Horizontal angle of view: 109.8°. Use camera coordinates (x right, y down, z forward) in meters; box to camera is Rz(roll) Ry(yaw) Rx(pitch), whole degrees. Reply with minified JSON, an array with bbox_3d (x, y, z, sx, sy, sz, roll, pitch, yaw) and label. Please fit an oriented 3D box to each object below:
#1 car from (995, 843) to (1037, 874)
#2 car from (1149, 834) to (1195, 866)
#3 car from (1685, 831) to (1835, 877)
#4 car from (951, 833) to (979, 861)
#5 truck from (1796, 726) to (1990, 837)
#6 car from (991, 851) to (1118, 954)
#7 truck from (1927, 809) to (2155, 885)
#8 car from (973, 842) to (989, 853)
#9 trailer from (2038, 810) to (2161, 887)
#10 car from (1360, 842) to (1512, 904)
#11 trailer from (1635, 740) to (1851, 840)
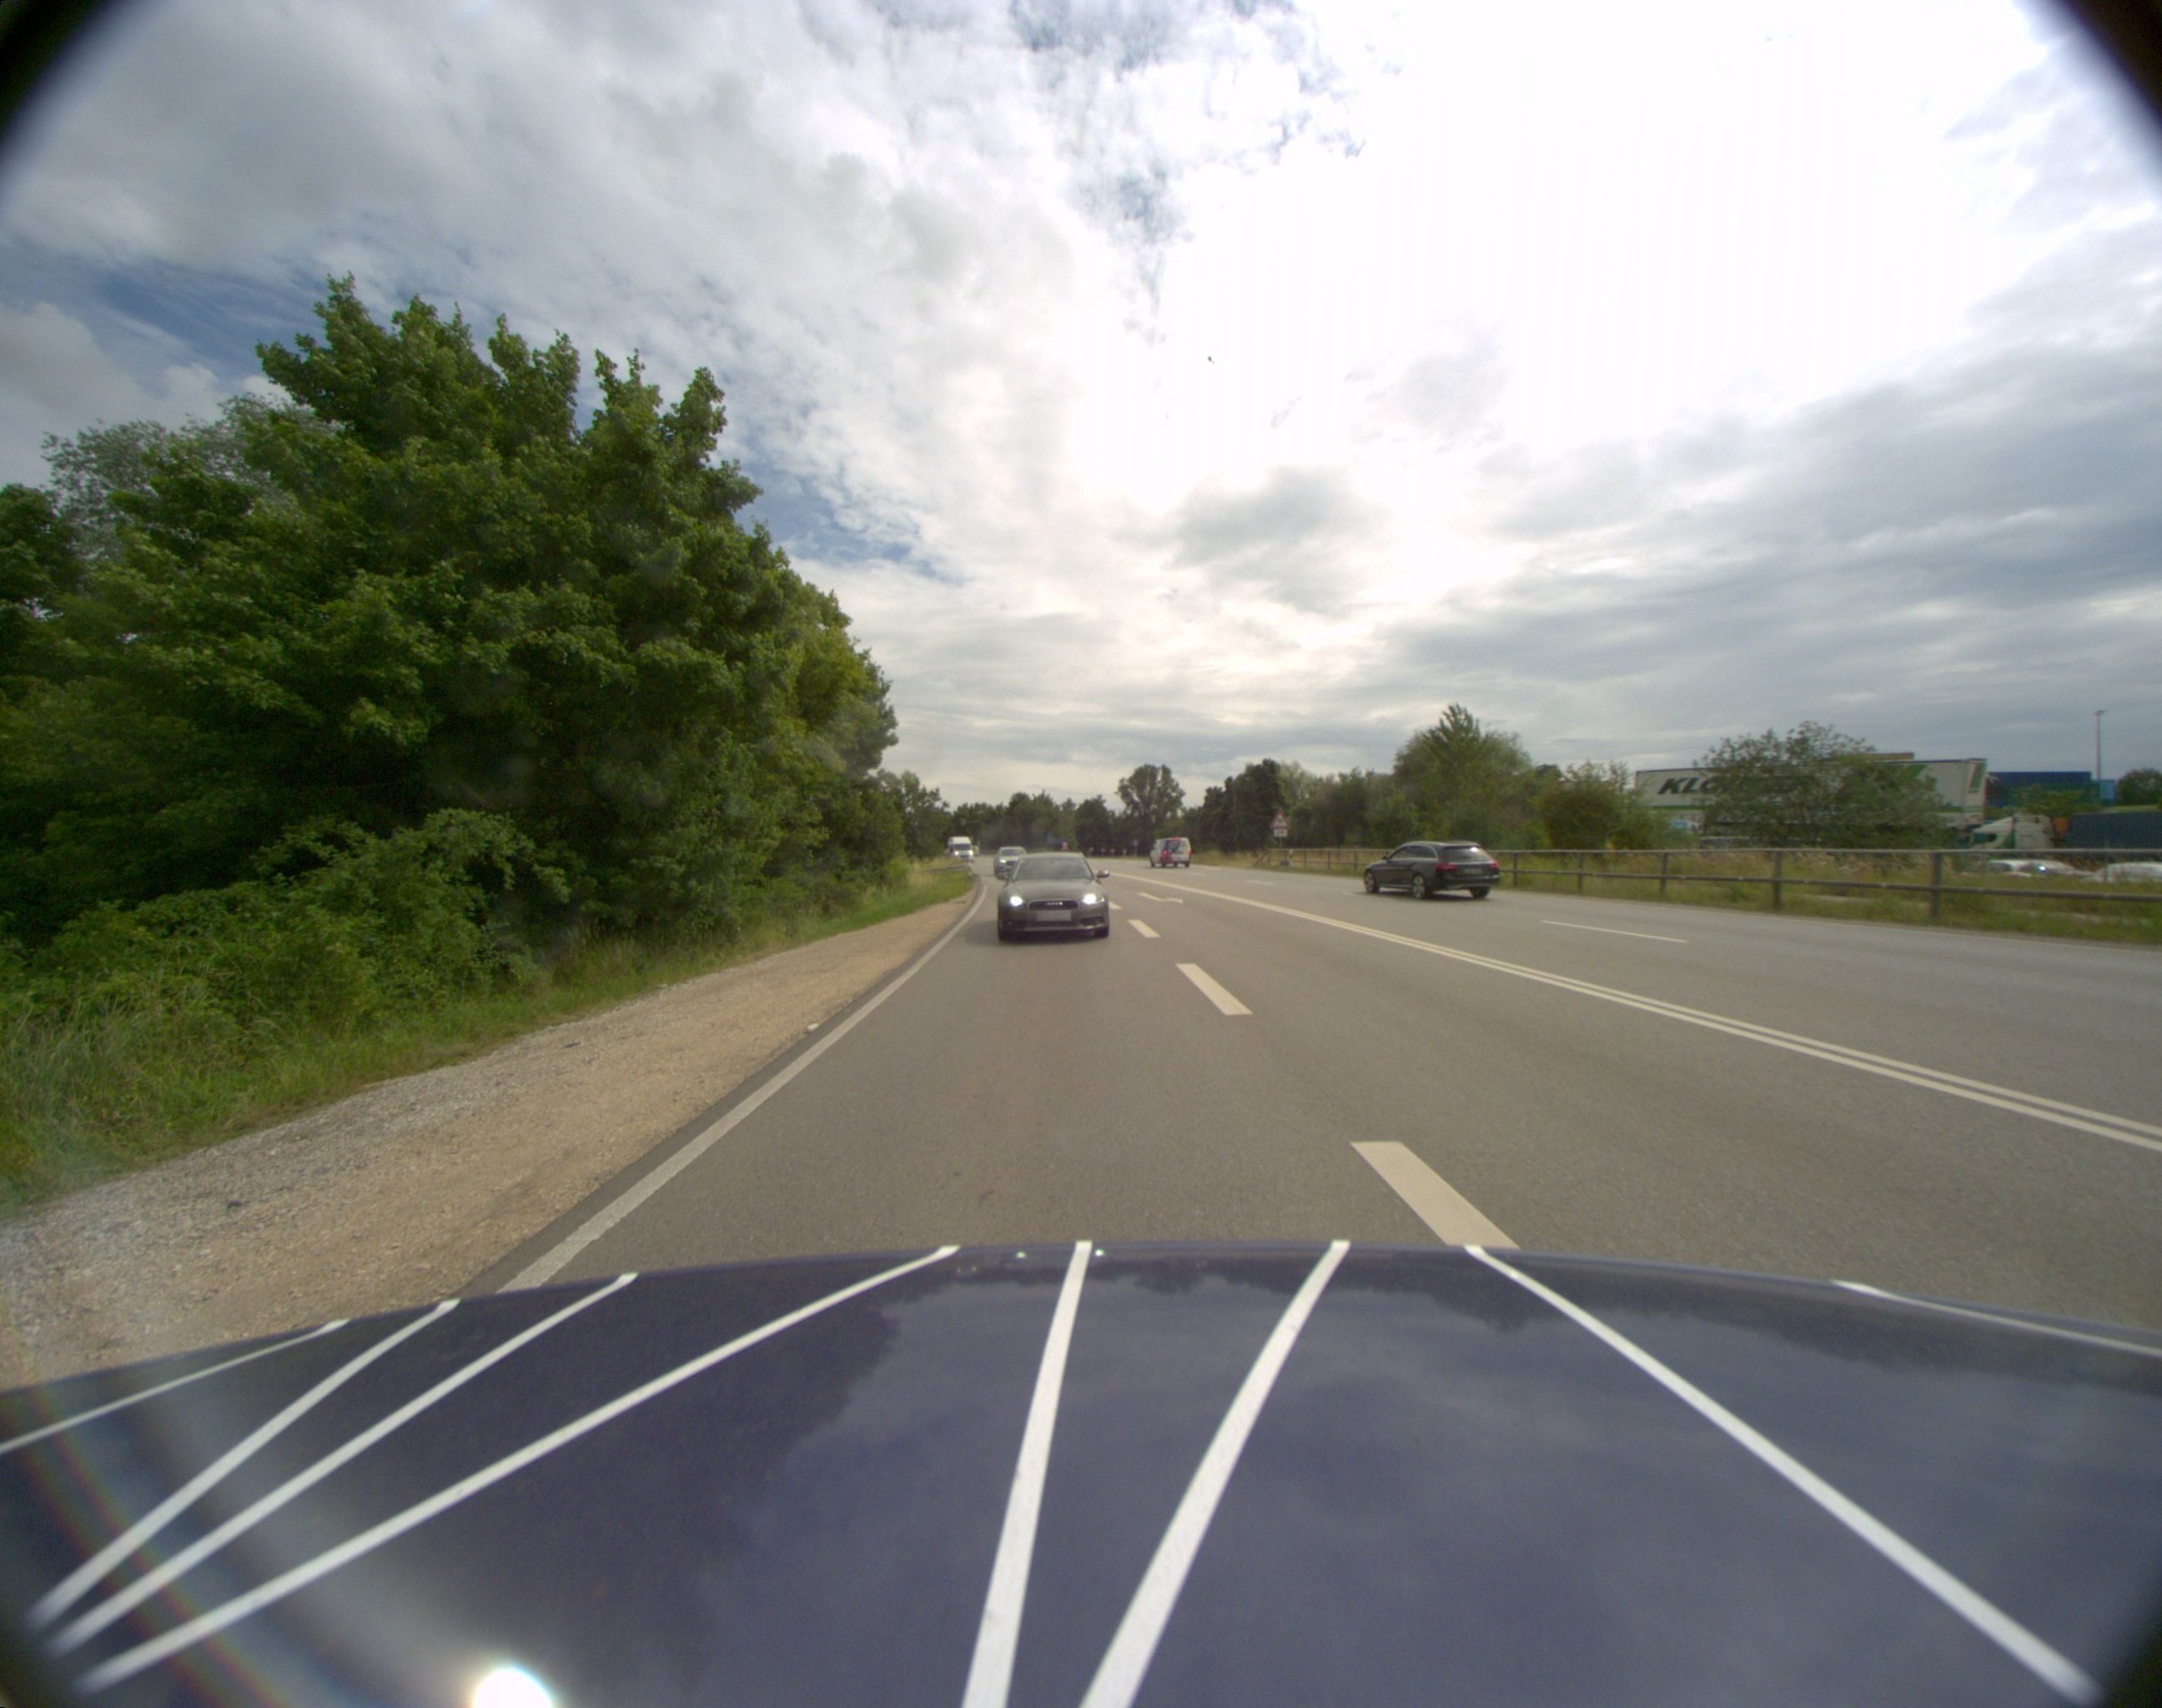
[{"bbox_3d":[-3.861,0.234,44.247,2.022,1.603,4.276,-2,1,-10],"label":"car"},{"bbox_3d":[6.171,-0.282,52.024,2.000,2.002,4.663,-2,1,-8],"label":"car"},{"bbox_3d":[29.949,-0.005,33.700,4.535,1.865,2.003,-1,1,22],"label":"car"},{"bbox_3d":[-12.100,-0.722,78.887,2.221,2.654,5.233,-3,0,-14],"label":"car"},{"bbox_3d":[40.741,-3.439,38.377,2.808,4.968,6.176,-3,1,-28],"label":"truck"},{"bbox_3d":[-0.618,0.750,13.954,1.958,1.527,3.997,-2,1,-6],"label":"car"},{"bbox_3d":[59.886,-0.445,47.826,3.244,4.268,8.307,-2,1,-15],"label":"truck"},{"bbox_3d":[-14.829,-0.973,112.785,1.737,1.509,3.994,-3,1,-17],"label":"car"},{"bbox_3d":[61.434,-0.359,41.851,3.244,4.268,10.390,-2,1,-15],"label":"trailer"},{"bbox_3d":[9.352,0.438,20.479,1.814,1.433,4.351,-1,1,-4],"label":"car"},{"bbox_3d":[37.776,-3.432,43.875,2.811,4.968,8.963,-3,1,-28],"label":"trailer"}]
